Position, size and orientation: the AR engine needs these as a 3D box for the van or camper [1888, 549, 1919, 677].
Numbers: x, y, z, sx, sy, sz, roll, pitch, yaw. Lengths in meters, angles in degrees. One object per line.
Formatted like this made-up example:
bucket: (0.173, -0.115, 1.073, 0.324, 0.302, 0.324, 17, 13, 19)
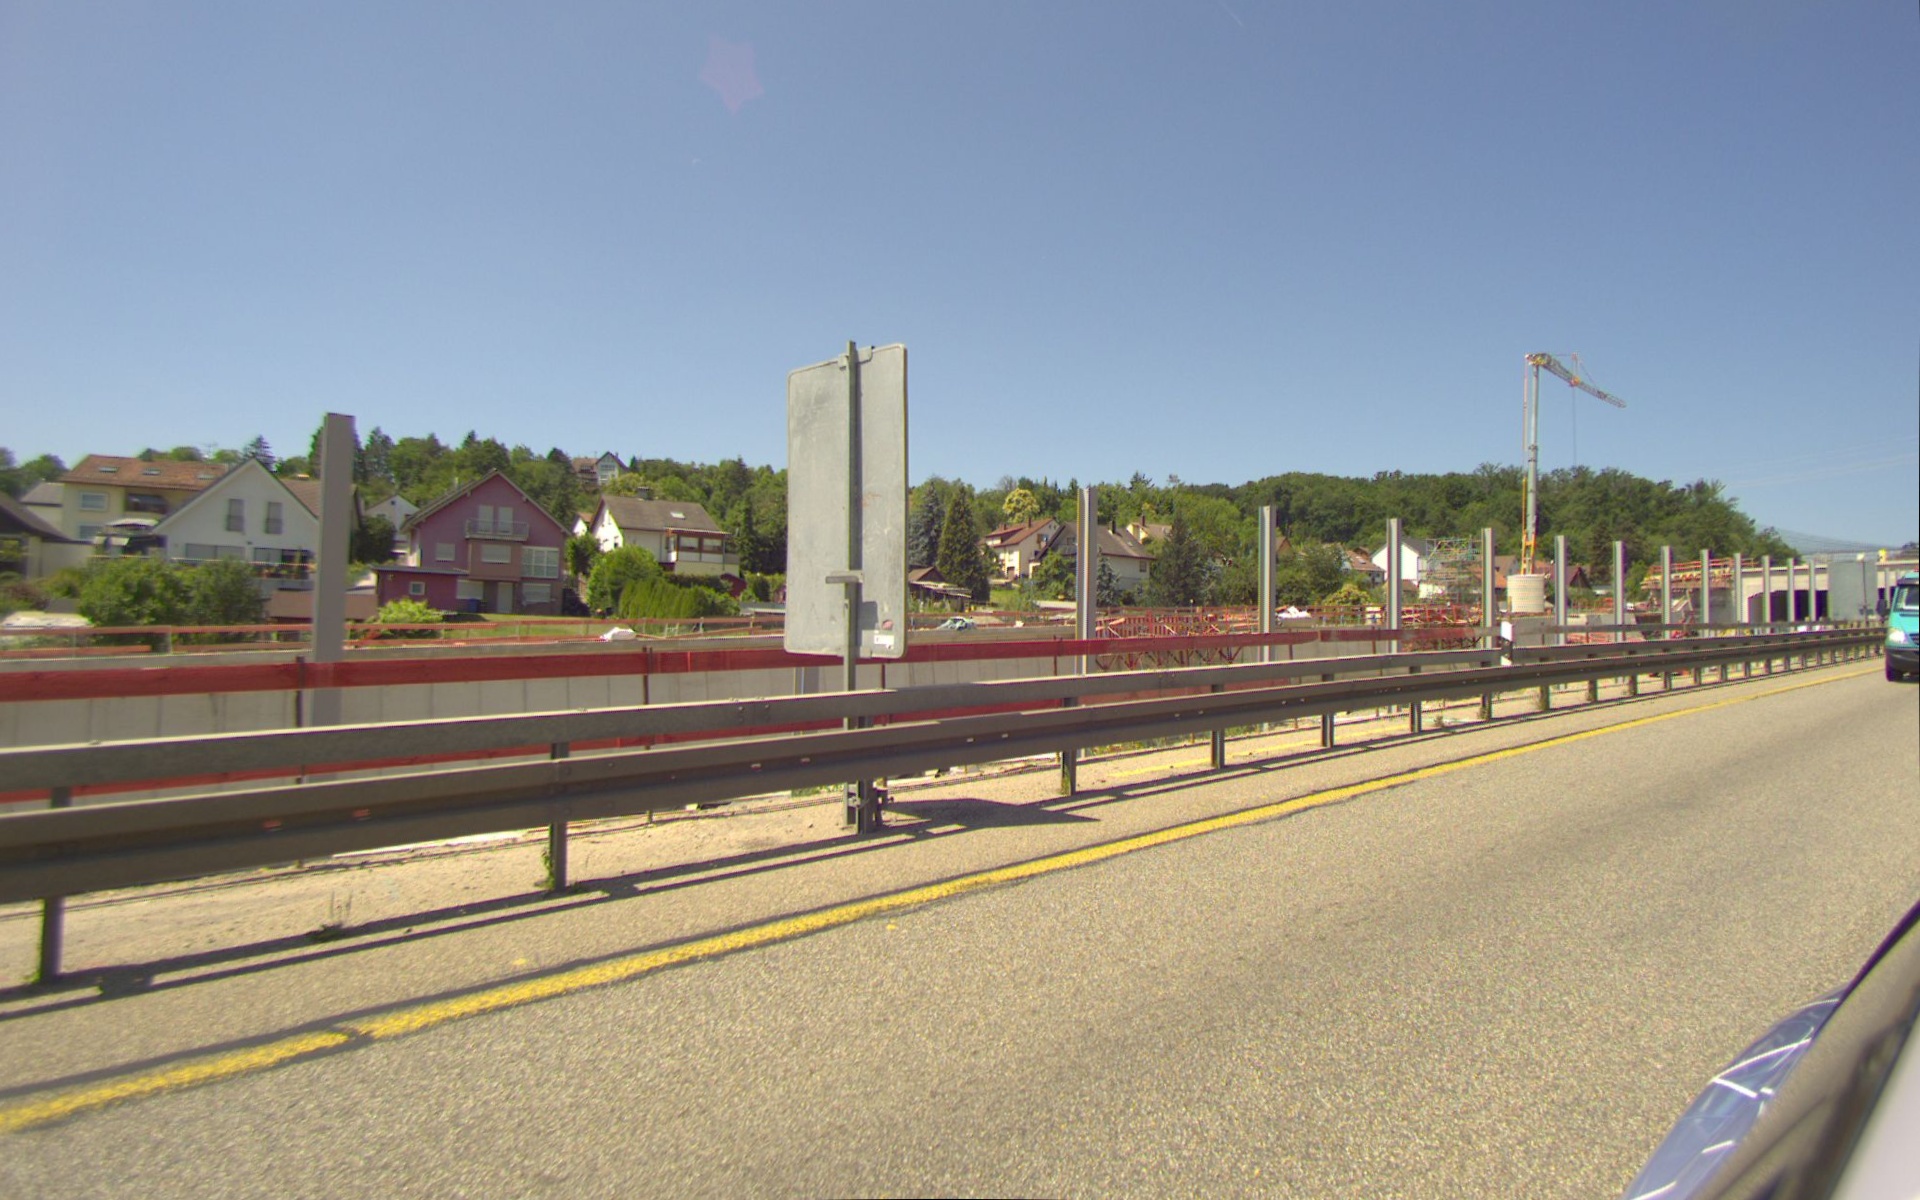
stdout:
van or camper: (22.072, 0.269, 21.860, 7.536, 2.504, 2.096, 0, 0, -41)
